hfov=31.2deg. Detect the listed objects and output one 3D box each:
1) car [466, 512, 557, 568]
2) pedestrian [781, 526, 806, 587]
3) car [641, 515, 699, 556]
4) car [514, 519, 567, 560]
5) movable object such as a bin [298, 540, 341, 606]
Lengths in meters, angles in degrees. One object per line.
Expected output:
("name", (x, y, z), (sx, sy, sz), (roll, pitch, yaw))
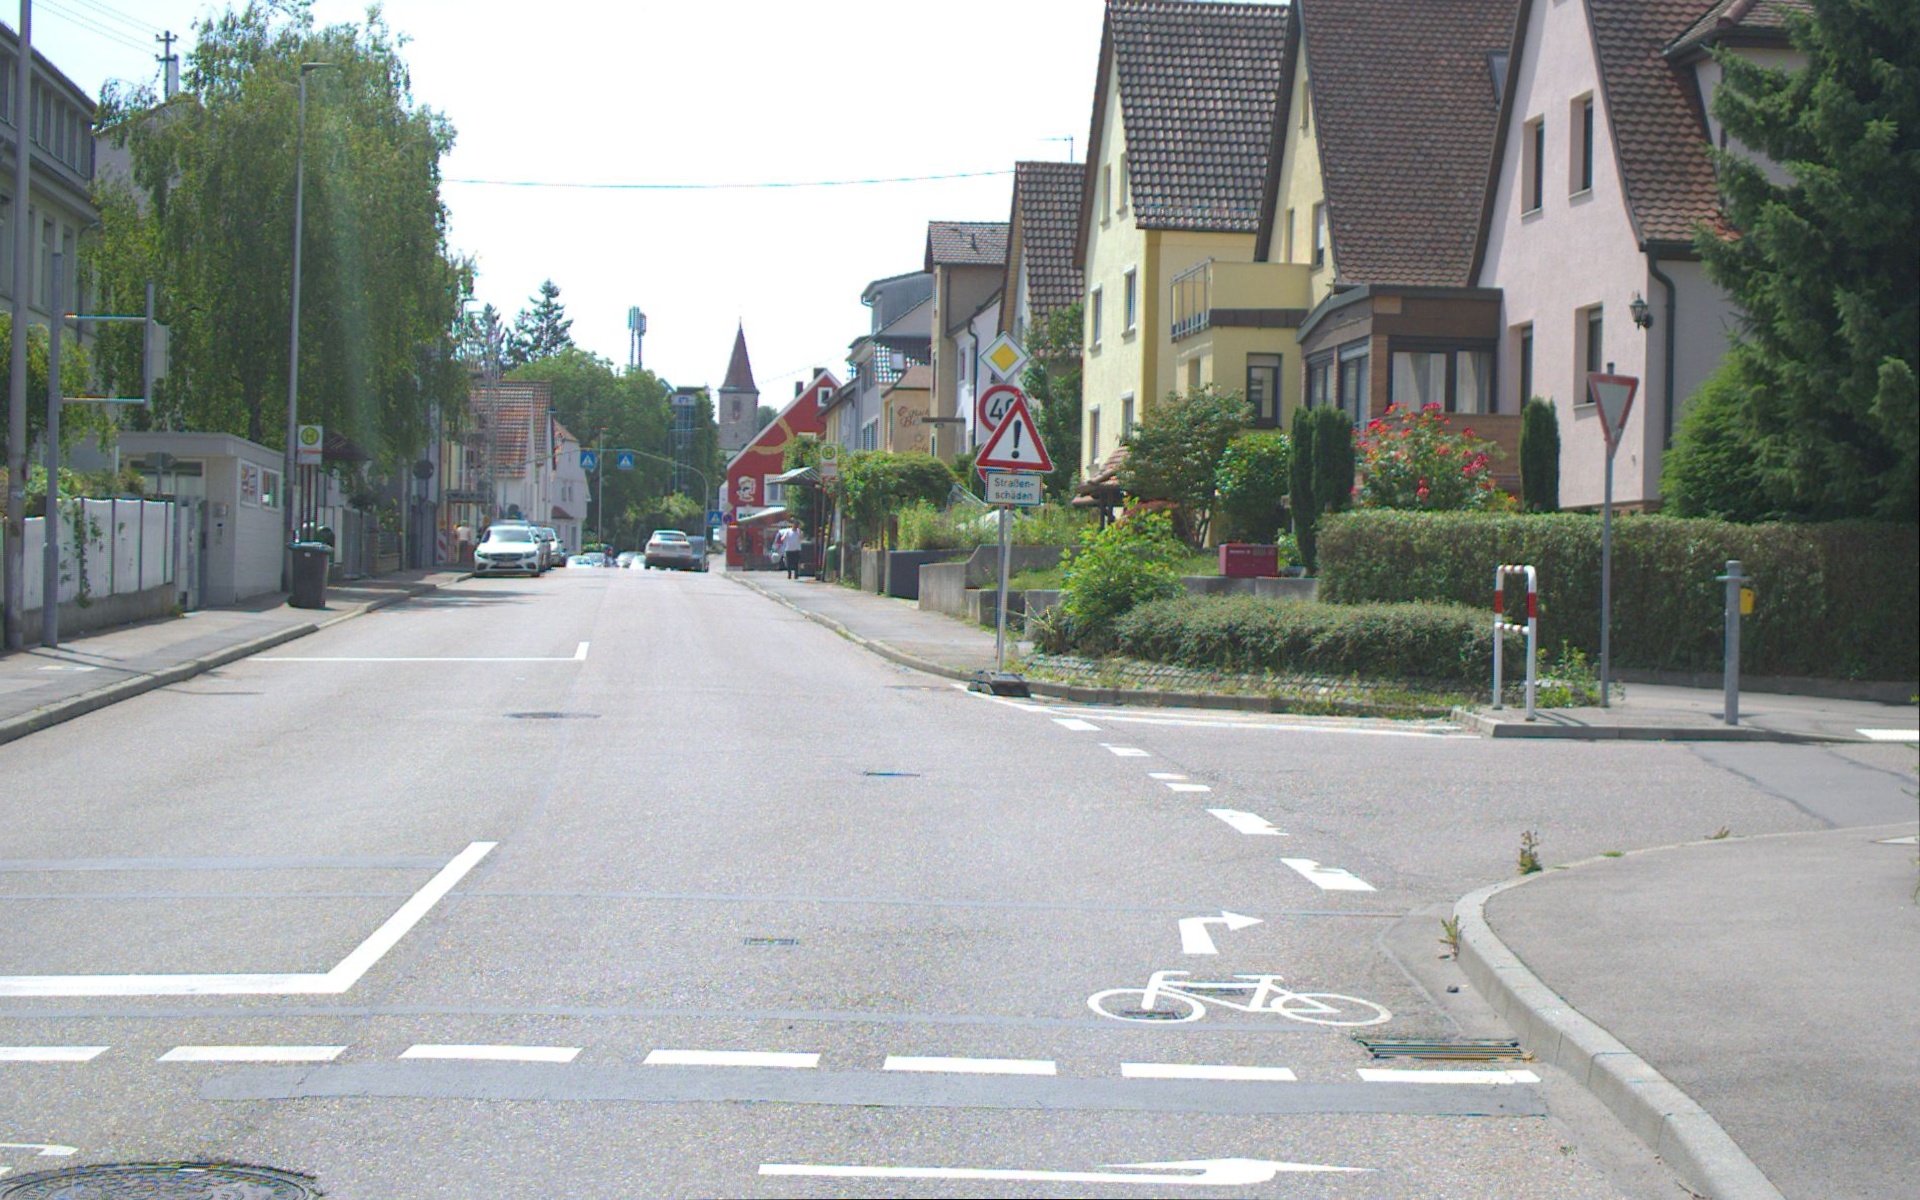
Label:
("car", (-12.873, -1.737, 98.887), (2.110, 1.555, 4.314), (1, 1, -1))
("pedestrian", (-4.838, -1.262, 99.793), (0.646, 1.724, 0.608), (-1, 2, -5))
("car", (-11.415, -2.547, 135.018), (1.993, 1.555, 4.315), (1, 1, -9))
("car", (-16.391, -2.380, 134.454), (1.993, 1.555, 4.315), (0, 1, -6))
("movable object such as a bin", (-10.655, -0.450, 57.219), (0.607, 1.042, 0.725), (2, 3, -5))
